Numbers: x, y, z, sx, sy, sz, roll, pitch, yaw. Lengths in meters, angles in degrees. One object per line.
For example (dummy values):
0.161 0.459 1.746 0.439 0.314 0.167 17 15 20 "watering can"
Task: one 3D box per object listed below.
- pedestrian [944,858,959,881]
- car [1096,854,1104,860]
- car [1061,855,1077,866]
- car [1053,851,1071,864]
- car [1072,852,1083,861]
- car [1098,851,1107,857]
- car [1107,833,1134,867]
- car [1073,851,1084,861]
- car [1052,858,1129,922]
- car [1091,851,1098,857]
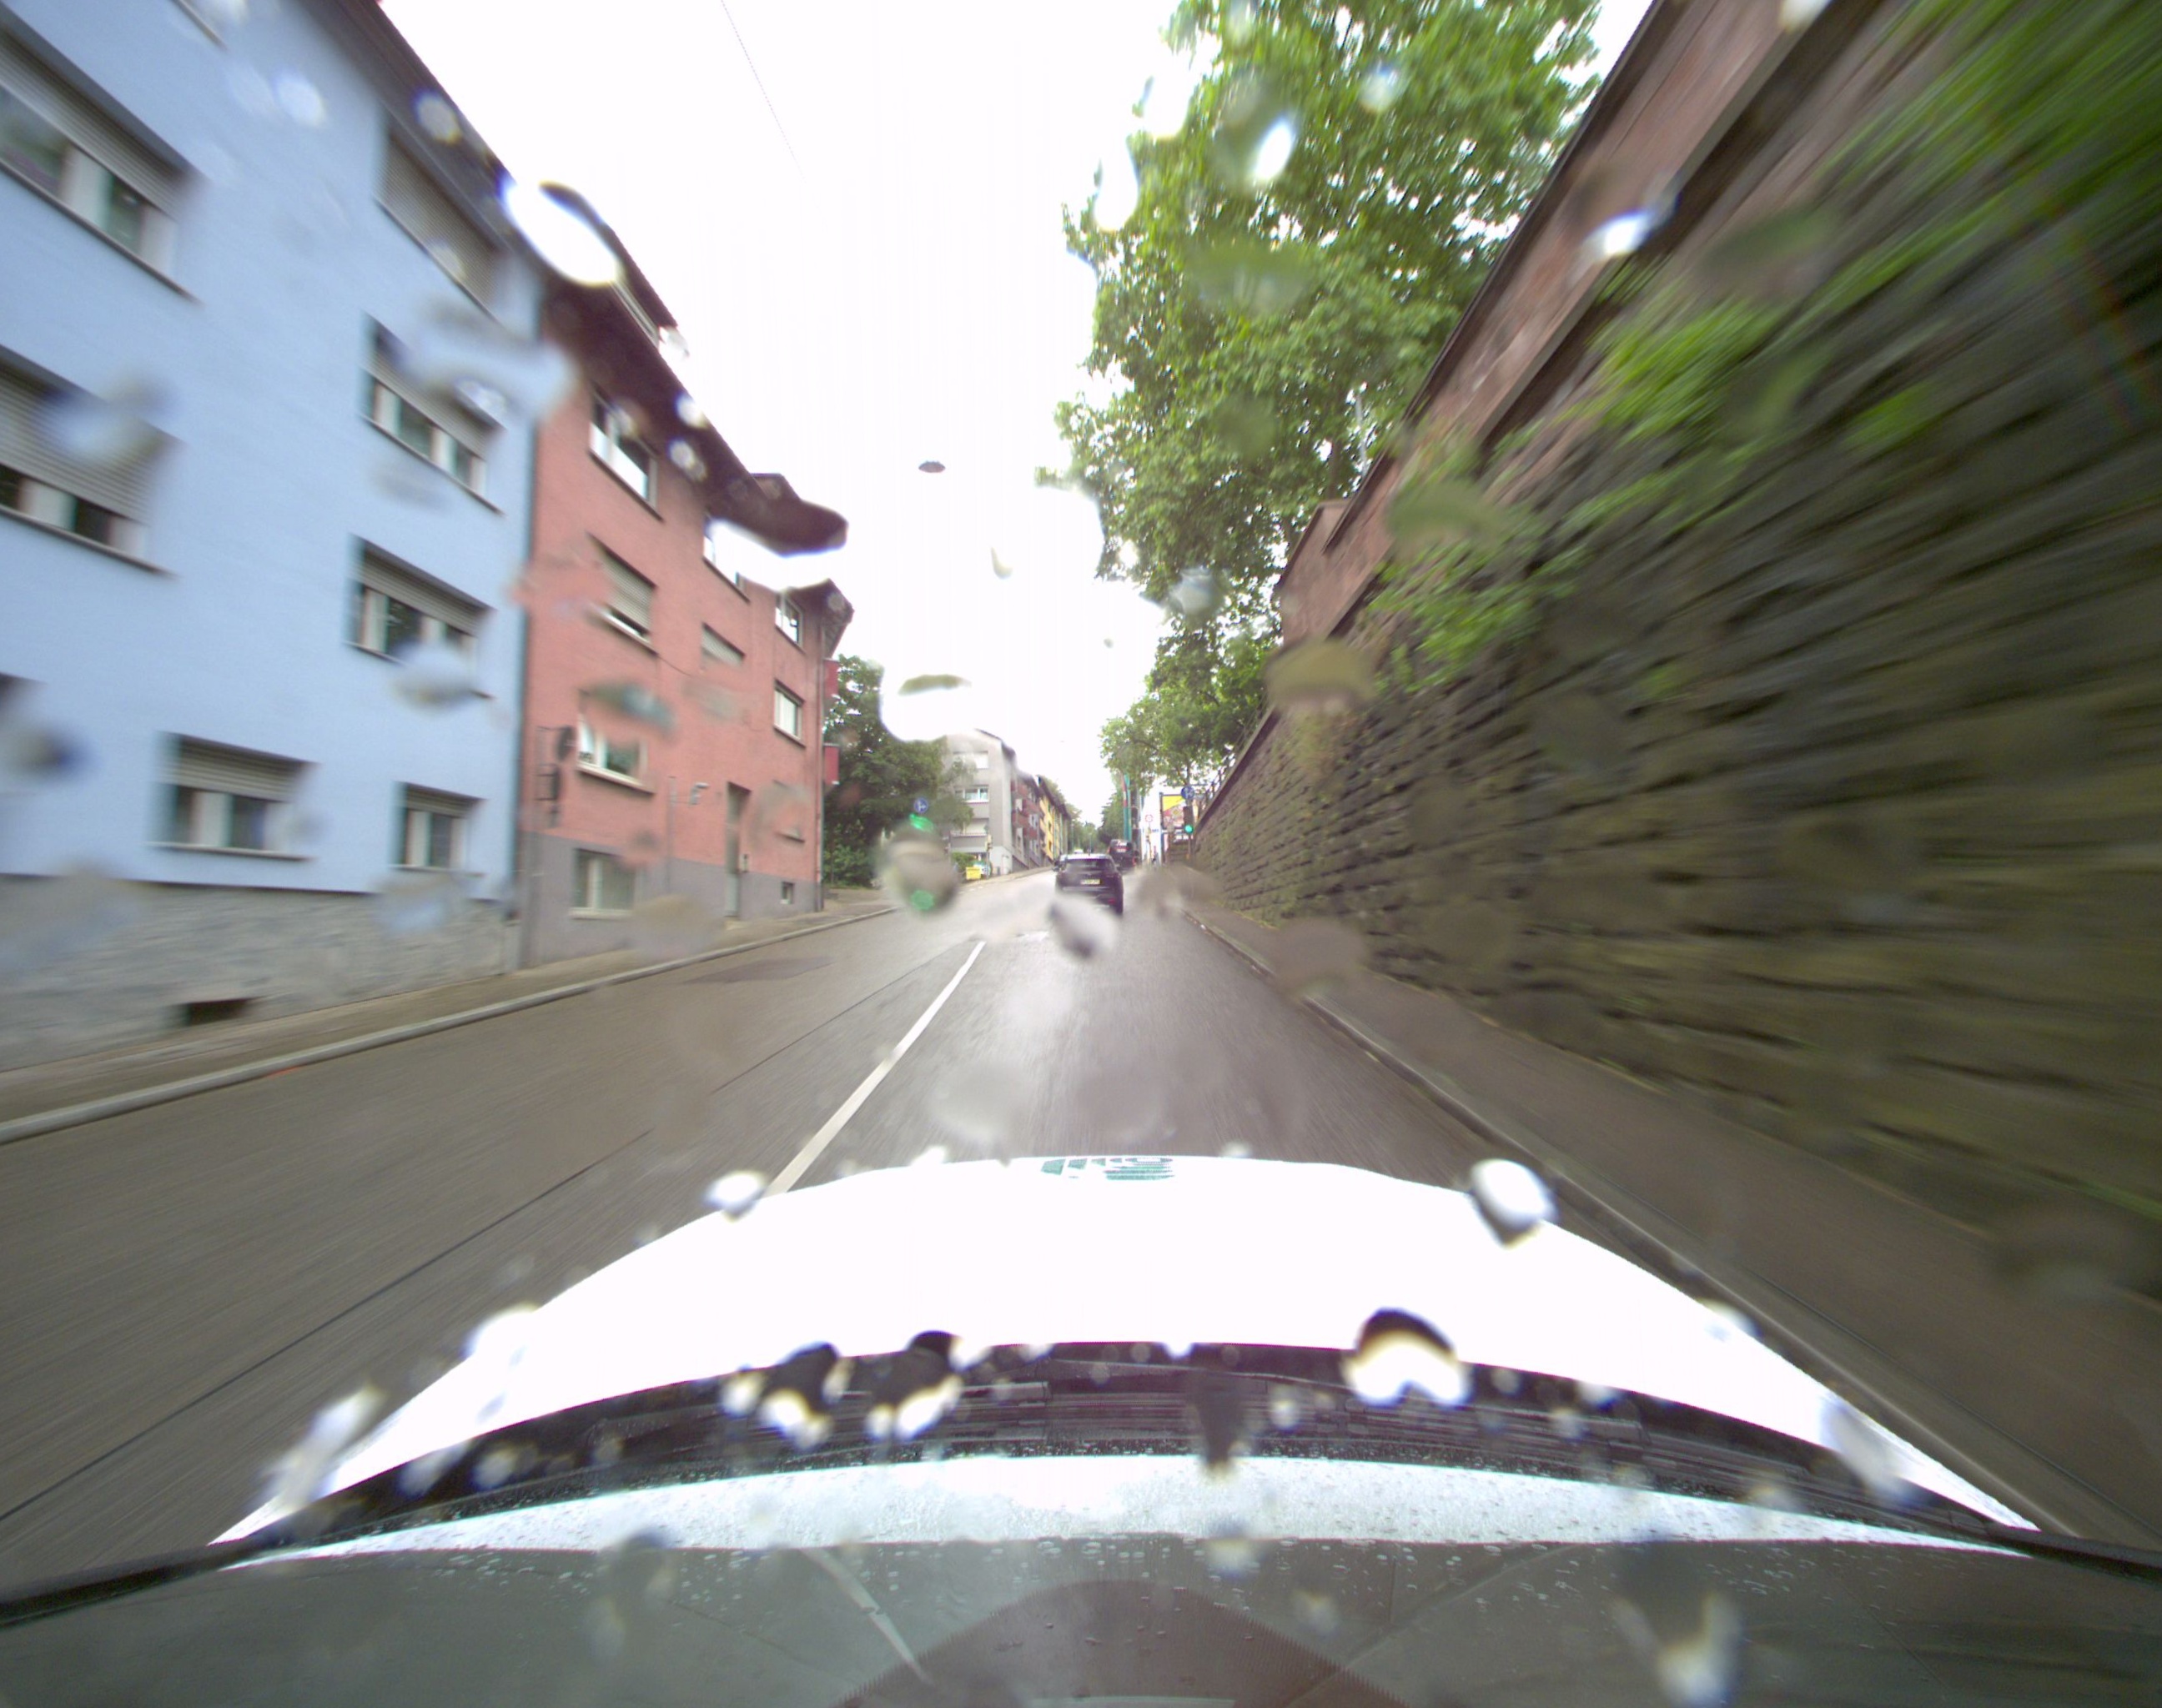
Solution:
-8.885 1.084 55.771 0.867 1.541 1.086 0 -2 -2 "pedestrian"
5.091 0.685 219.284 2.067 1.559 4.000 -1 0 1 "car"
-1.837 1.004 126.688 1.985 1.650 4.446 -2 0 4 "car"
-2.588 0.480 110.297 1.985 1.650 4.446 -2 0 4 "car"
-0.639 0.455 150.034 1.983 1.585 4.305 -2 0 1 "car"
5.099 -0.018 191.523 2.067 1.559 4.000 -1 0 1 "car"
3.049 -0.241 62.802 1.985 2.414 5.840 0 -2 3 "car"
-0.458 0.389 156.072 1.983 1.755 4.480 -2 0 1 "car"
0.306 0.949 22.965 1.986 1.559 4.002 0 1 2 "car"
4.020 -0.052 247.648 2.067 1.559 4.000 -1 0 1 "car"
